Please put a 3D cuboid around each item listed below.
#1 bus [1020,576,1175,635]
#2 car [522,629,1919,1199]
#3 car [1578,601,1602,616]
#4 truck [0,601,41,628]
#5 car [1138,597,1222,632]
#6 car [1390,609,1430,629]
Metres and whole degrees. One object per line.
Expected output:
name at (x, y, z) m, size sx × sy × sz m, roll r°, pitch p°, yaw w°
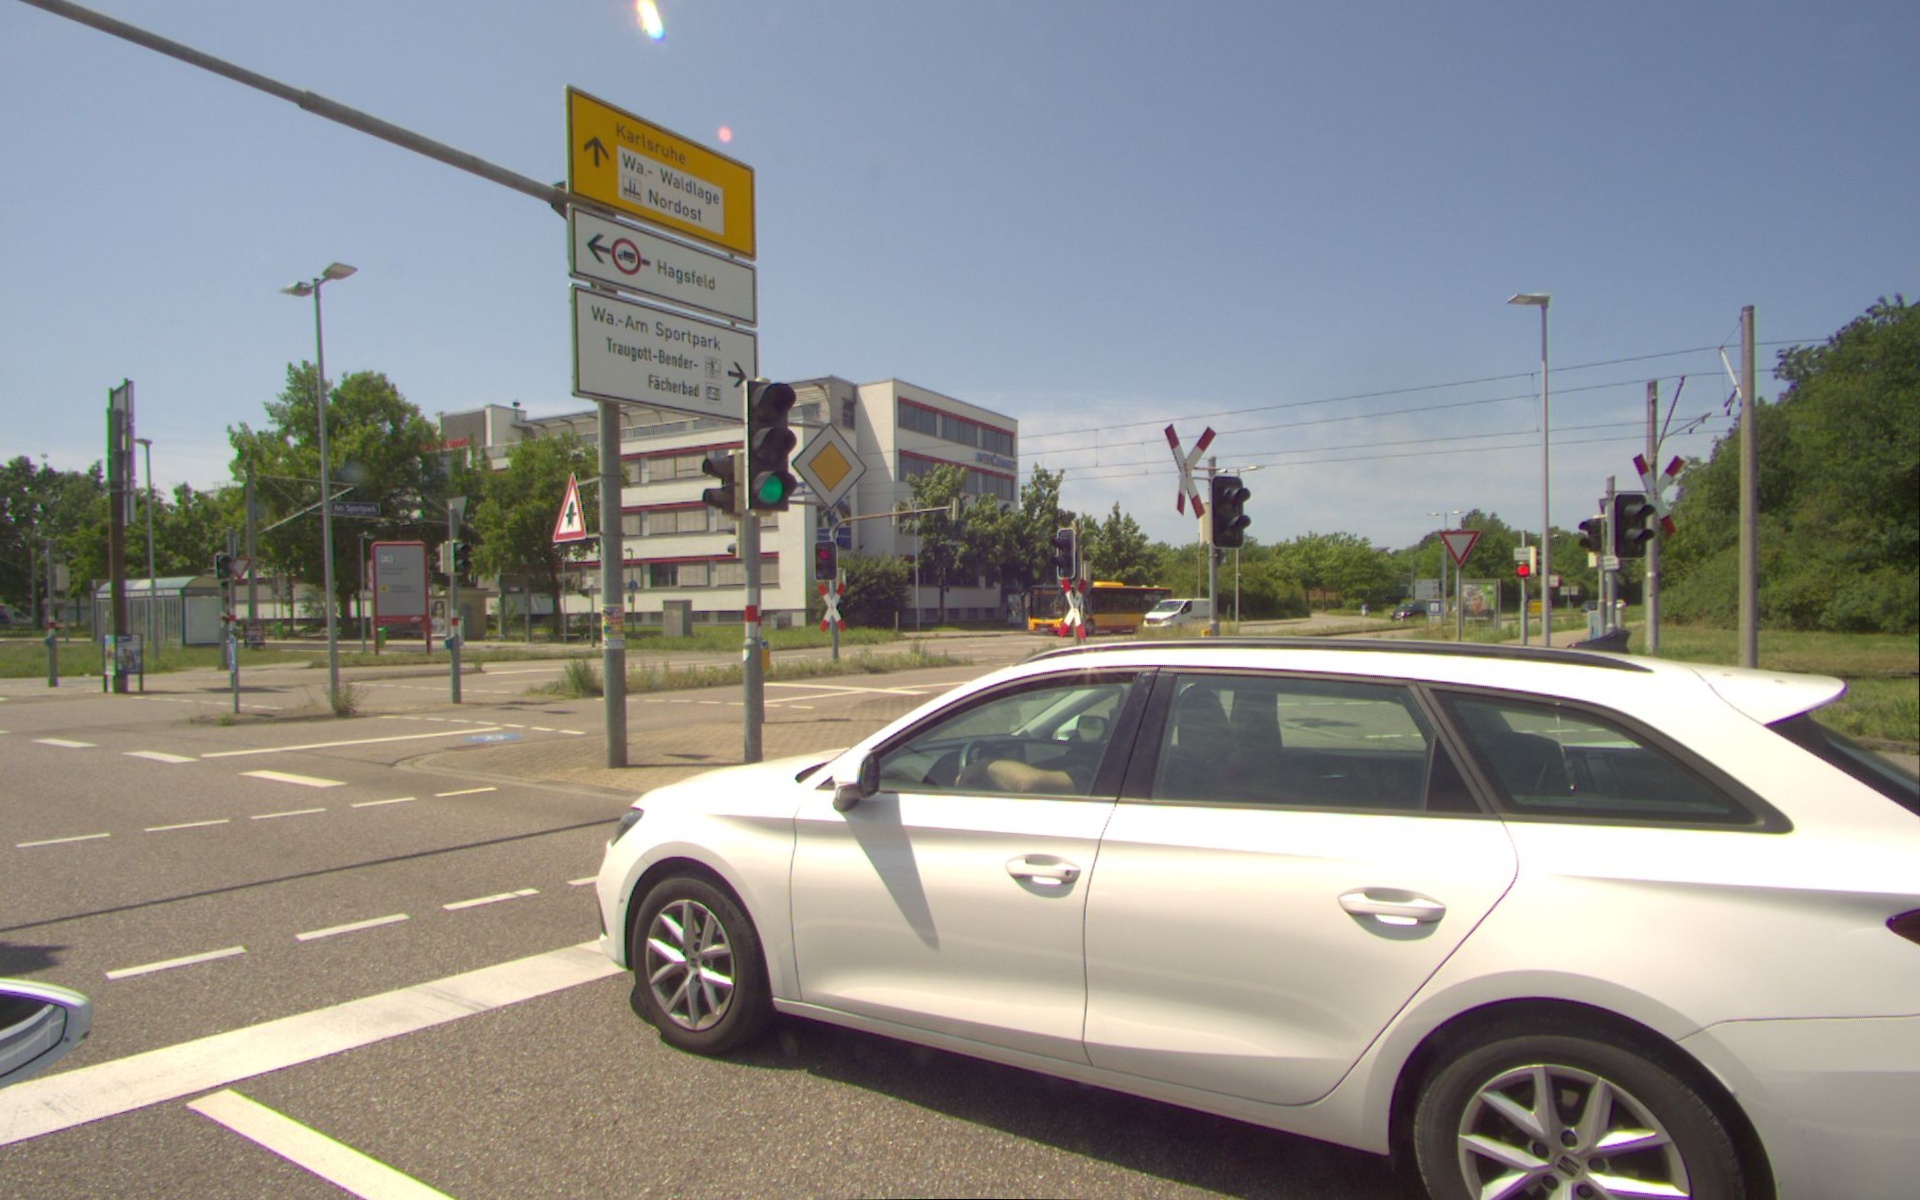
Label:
bus at (8.391, 0.423, 59.231) m, size 2.808 × 3.159 × 11.977 m, roll -2°, pitch -2°, yaw 42°
car at (0.610, 0.825, 3.495) m, size 4.384 × 1.408 × 1.680 m, roll -1°, pitch -1°, yaw 30°
car at (77.880, 1.066, 123.764) m, size 1.977 × 1.813 × 3.969 m, roll 0°, pitch -1°, yaw 40°
truck at (-104.743, 1.647, 109.480) m, size 2.283 × 2.881 × 5.837 m, roll -1°, pitch 1°, yaw 26°
car at (11.710, 0.832, 53.178) m, size 5.021 × 1.750 × 1.811 m, roll 2°, pitch -2°, yaw -43°
car at (37.394, 1.540, 83.115) m, size 3.960 × 1.601 × 1.658 m, roll 1°, pitch 0°, yaw -43°
